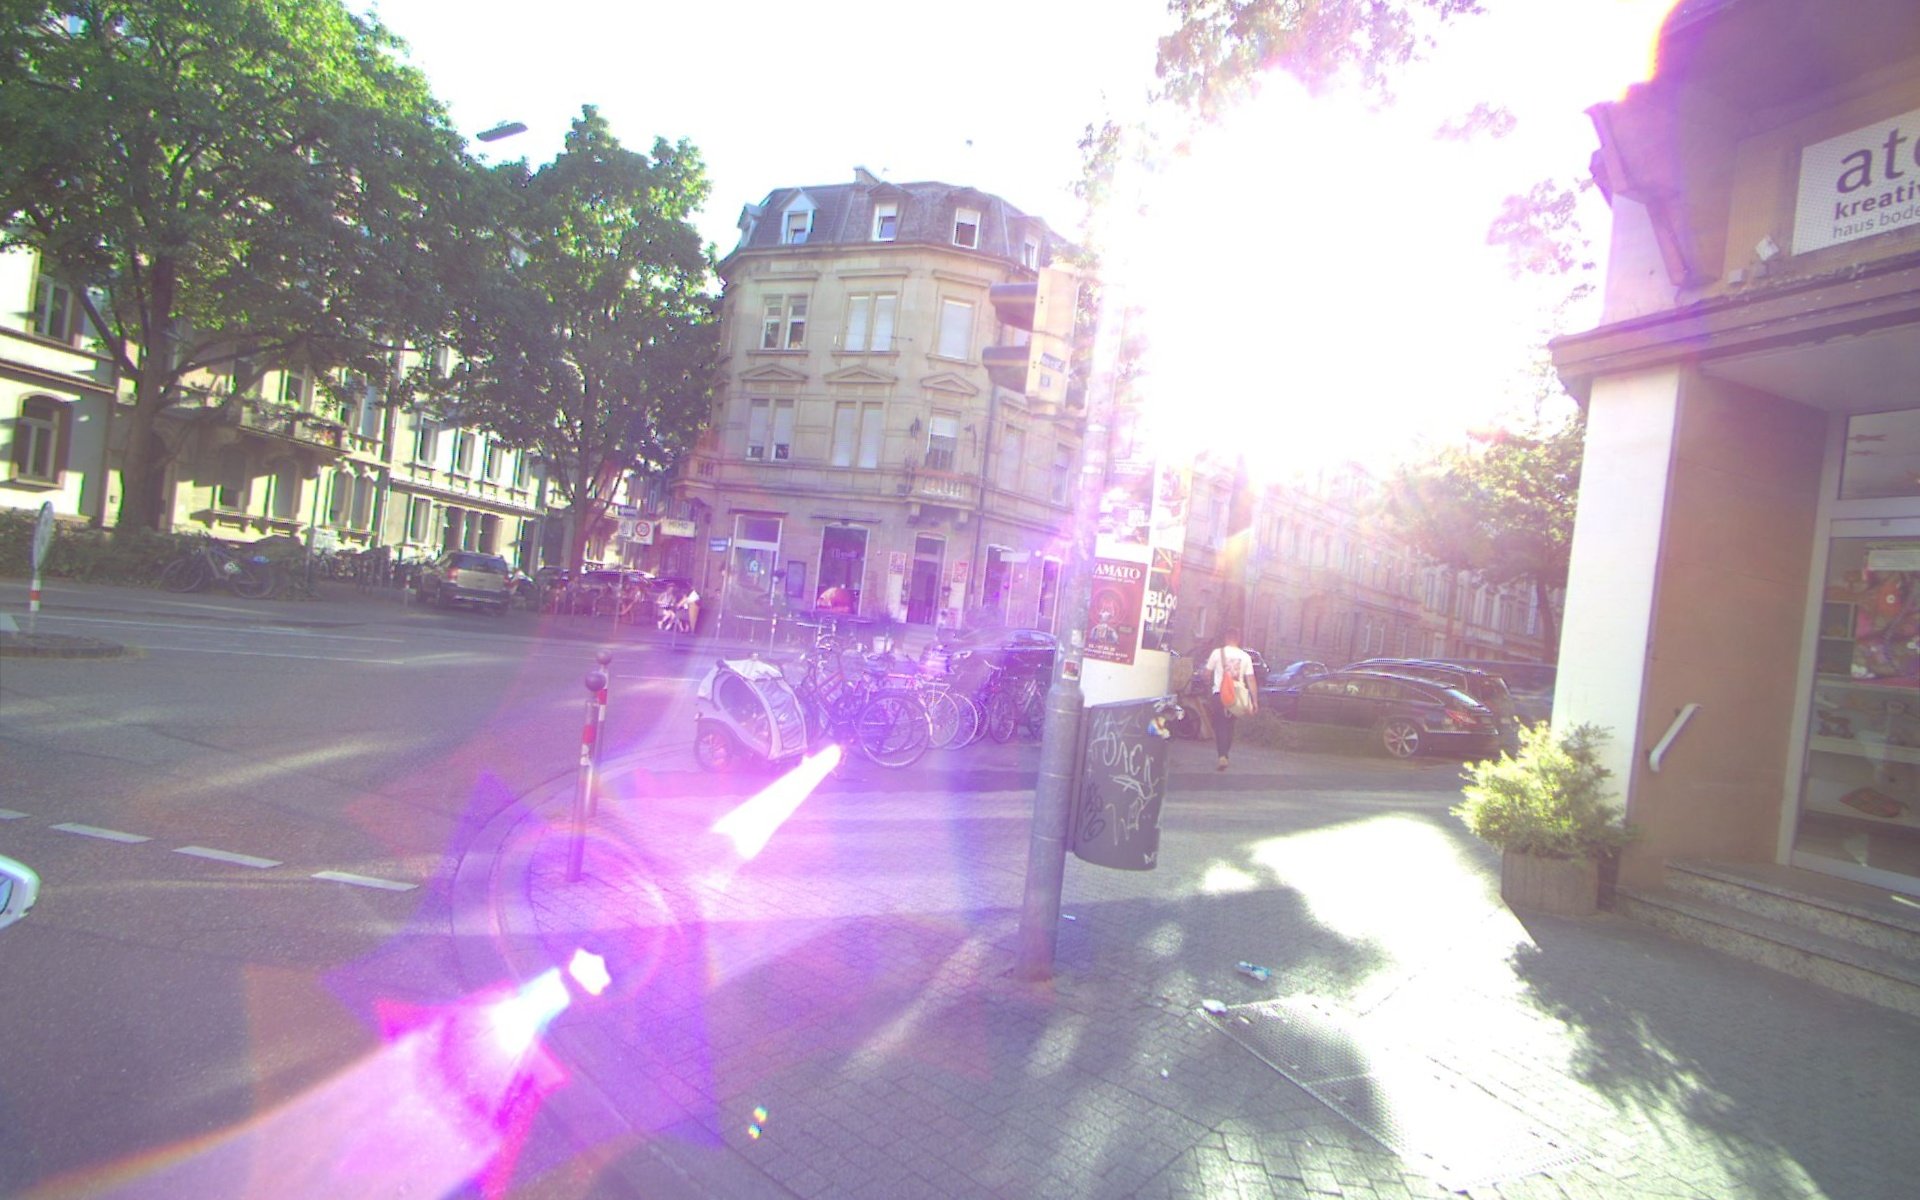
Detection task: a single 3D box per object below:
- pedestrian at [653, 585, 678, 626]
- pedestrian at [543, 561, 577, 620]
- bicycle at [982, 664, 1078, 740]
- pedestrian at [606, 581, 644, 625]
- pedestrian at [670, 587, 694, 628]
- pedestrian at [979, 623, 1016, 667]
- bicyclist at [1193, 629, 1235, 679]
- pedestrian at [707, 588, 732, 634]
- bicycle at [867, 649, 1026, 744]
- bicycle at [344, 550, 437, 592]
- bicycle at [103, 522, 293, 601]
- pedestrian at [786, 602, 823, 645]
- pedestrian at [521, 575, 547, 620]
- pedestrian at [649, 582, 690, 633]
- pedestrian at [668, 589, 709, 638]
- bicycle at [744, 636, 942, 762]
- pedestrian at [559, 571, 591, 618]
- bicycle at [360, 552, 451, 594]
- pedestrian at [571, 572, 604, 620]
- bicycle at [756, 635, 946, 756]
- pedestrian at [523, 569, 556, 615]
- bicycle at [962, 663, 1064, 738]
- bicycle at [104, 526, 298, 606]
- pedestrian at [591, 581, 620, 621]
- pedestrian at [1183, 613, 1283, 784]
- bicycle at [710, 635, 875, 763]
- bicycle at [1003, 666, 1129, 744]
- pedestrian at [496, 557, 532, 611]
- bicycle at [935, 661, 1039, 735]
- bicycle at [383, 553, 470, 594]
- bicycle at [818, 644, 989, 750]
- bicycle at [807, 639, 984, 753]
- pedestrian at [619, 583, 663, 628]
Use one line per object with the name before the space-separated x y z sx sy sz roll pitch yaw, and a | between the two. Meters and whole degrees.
pedestrian | -9.605 0.173 32.808 0.475 1.264 0.508 7 1 40
pedestrian | -12.705 -0.314 31.980 0.760 1.792 0.567 5 0 -36
bicycle | 0.956 1.385 13.480 0.350 0.938 1.517 3 -3 43
pedestrian | -10.390 0.100 31.194 0.696 1.264 0.746 7 1 40
pedestrian | -8.882 0.247 32.171 0.475 1.264 0.432 7 1 40
pedestrian | 1.191 1.422 31.844 0.717 1.274 0.753 7 0 40
bicyclist | 10.112 2.138 40.052 0.985 1.811 1.201 7 0 43
pedestrian | -7.587 0.341 31.724 0.474 1.384 0.432 7 1 34
bicycle | -0.178 1.212 12.813 1.901 0.999 0.497 4 -2 20
bicycle | -21.269 -1.075 37.587 3.077 1.195 0.752 7 0 7
bicycle | -15.314 -0.737 20.310 2.941 1.210 0.541 8 -1 -44
pedestrian | -4.804 0.728 31.035 0.714 1.228 0.756 7 0 23
pedestrian | -13.589 -0.083 32.103 0.567 1.337 0.500 5 1 -37
pedestrian | -8.648 0.228 29.961 0.744 1.428 0.726 7 0 30
pedestrian | -7.960 0.398 29.532 0.733 1.305 0.741 7 0 32
bicycle | -1.194 1.016 10.410 1.899 1.106 0.425 5 -2 3
pedestrian | -12.800 -0.187 33.444 0.760 1.459 0.662 5 0 -36
bicycle | -21.170 -1.026 38.427 3.077 1.195 0.752 7 0 7
pedestrian | -12.106 -0.125 32.696 0.760 1.459 0.662 5 0 -36
bicycle | -1.158 1.017 10.845 1.899 1.106 0.425 5 -2 3
pedestrian | -13.804 -0.256 33.012 0.759 1.429 0.662 5 0 -34
bicycle | 0.752 1.396 13.840 1.514 0.938 0.351 7 -3 -41
bicycle | -14.917 -0.635 19.886 2.941 1.210 0.541 8 -1 -44
pedestrian | -11.812 0.038 33.524 0.671 1.230 0.661 6 0 -37
pedestrian | 3.345 1.181 12.446 0.826 1.922 1.118 7 0 7
bicycle | -1.624 0.965 9.771 1.455 1.106 0.424 6 -2 -18
bicycle | 1.505 1.502 14.624 1.911 0.938 0.353 3 -3 42
pedestrian | -14.778 -0.521 33.326 0.659 1.690 0.763 5 0 40
bicycle | 0.398 1.413 14.457 1.392 0.938 0.353 6 -2 -18
bicycle | -20.968 -1.041 39.554 3.077 1.195 0.752 7 0 7
bicycle | -0.659 1.145 12.035 1.899 1.064 0.503 5 -2 5
bicycle | -0.728 1.094 11.551 1.899 1.106 0.425 5 -2 5
pedestrian | -9.700 0.167 30.625 1.010 1.264 0.746 7 1 39
